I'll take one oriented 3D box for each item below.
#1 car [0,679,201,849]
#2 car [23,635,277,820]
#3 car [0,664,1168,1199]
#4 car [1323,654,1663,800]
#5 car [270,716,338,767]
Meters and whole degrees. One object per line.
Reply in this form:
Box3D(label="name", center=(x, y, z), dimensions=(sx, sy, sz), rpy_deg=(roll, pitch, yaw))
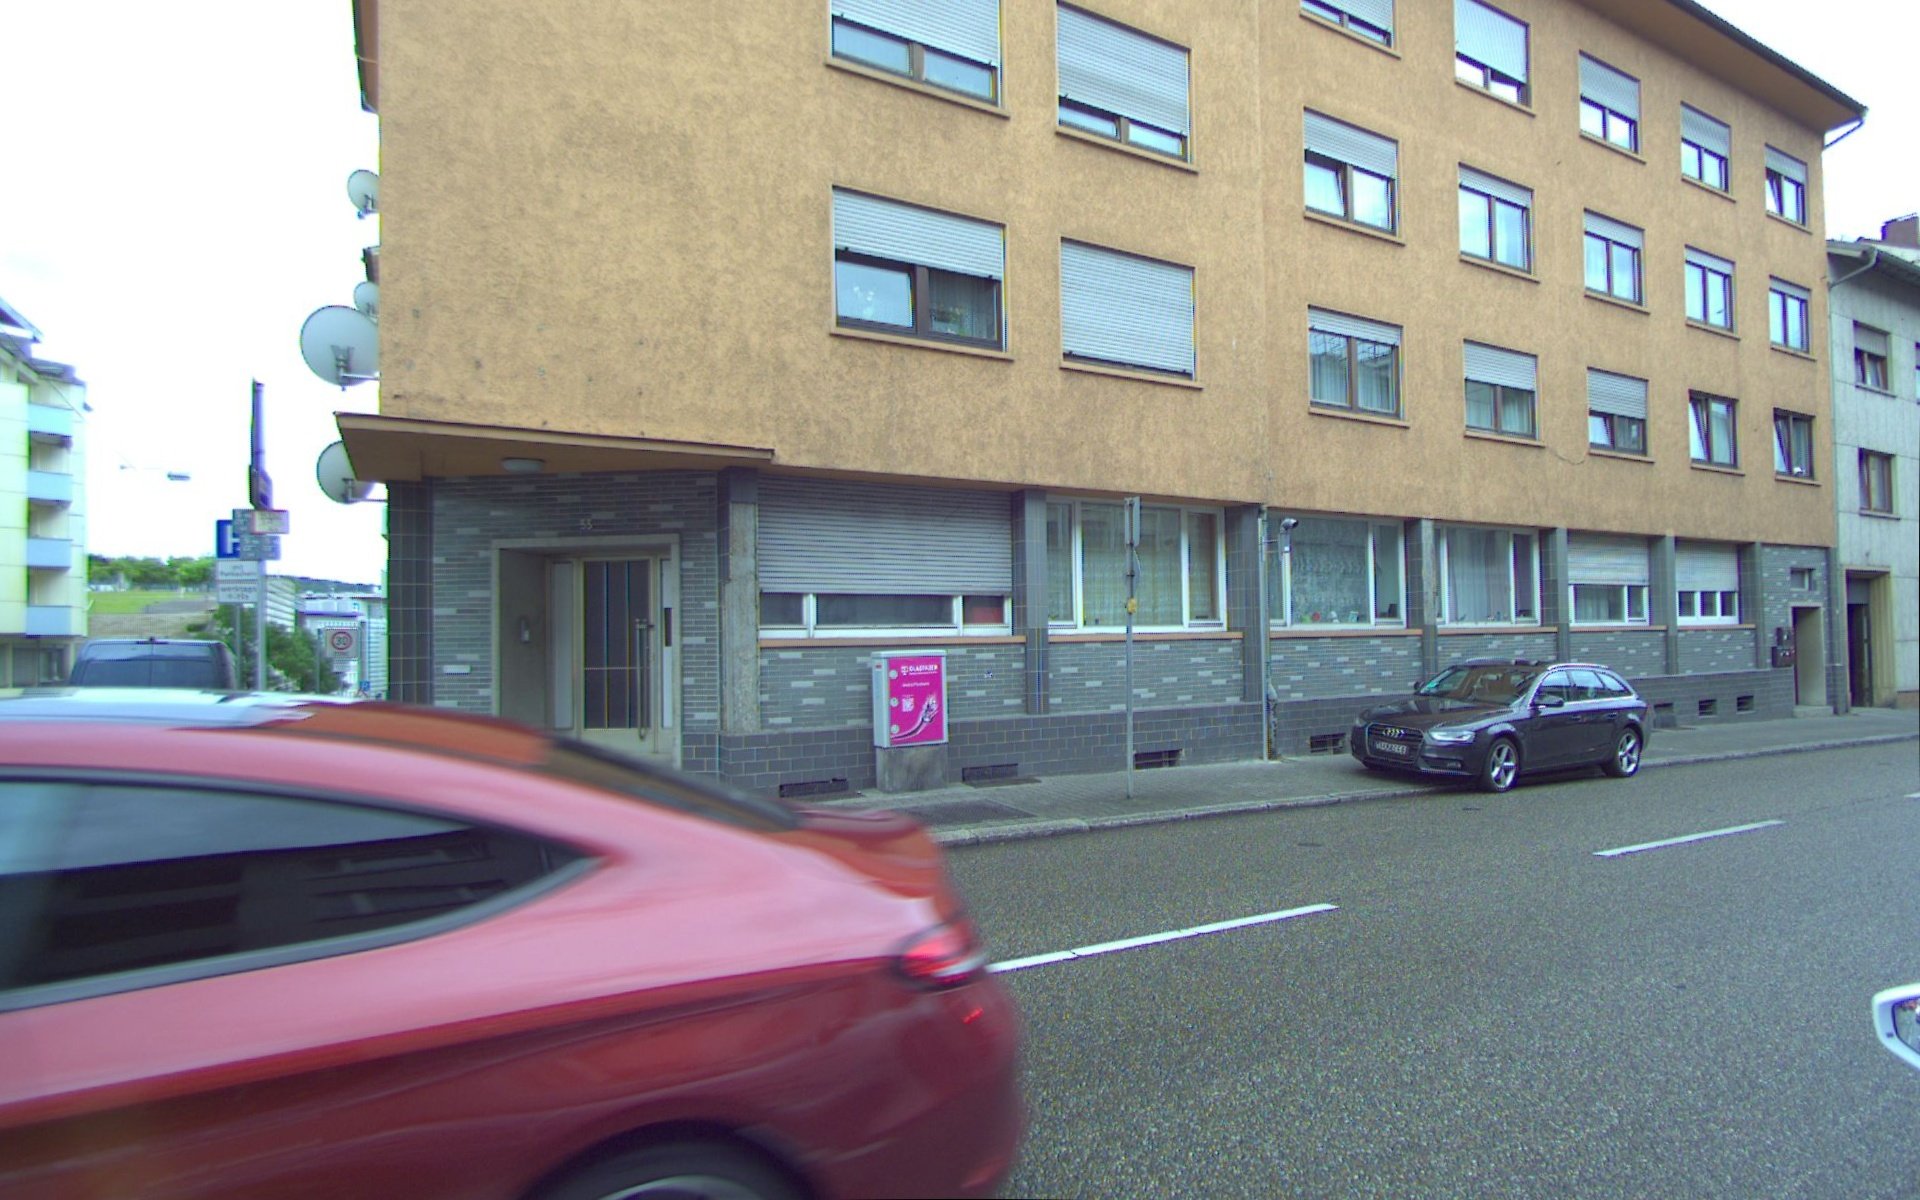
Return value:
Box3D(label="car", center=(-10.146, 1.830, 11.415), dimensions=(1.820, 1.596, 4.127), rpy_deg=(1, -8, -29))
Box3D(label="car", center=(-13.131, 2.078, 16.799), dimensions=(2.223, 2.492, 6.017), rpy_deg=(1, -7, -29))
Box3D(label="car", center=(-1.832, 0.841, 1.797), dimensions=(4.288, 1.408, 1.717), rpy_deg=(1, -4, -30))
Box3D(label="car", center=(6.887, 1.487, 12.854), dimensions=(4.475, 1.457, 1.786), rpy_deg=(1, 0, -31))
Box3D(label="car", center=(-24.415, 5.271, 37.505), dimensions=(1.796, 1.696, 4.026), rpy_deg=(1, -7, -29))
